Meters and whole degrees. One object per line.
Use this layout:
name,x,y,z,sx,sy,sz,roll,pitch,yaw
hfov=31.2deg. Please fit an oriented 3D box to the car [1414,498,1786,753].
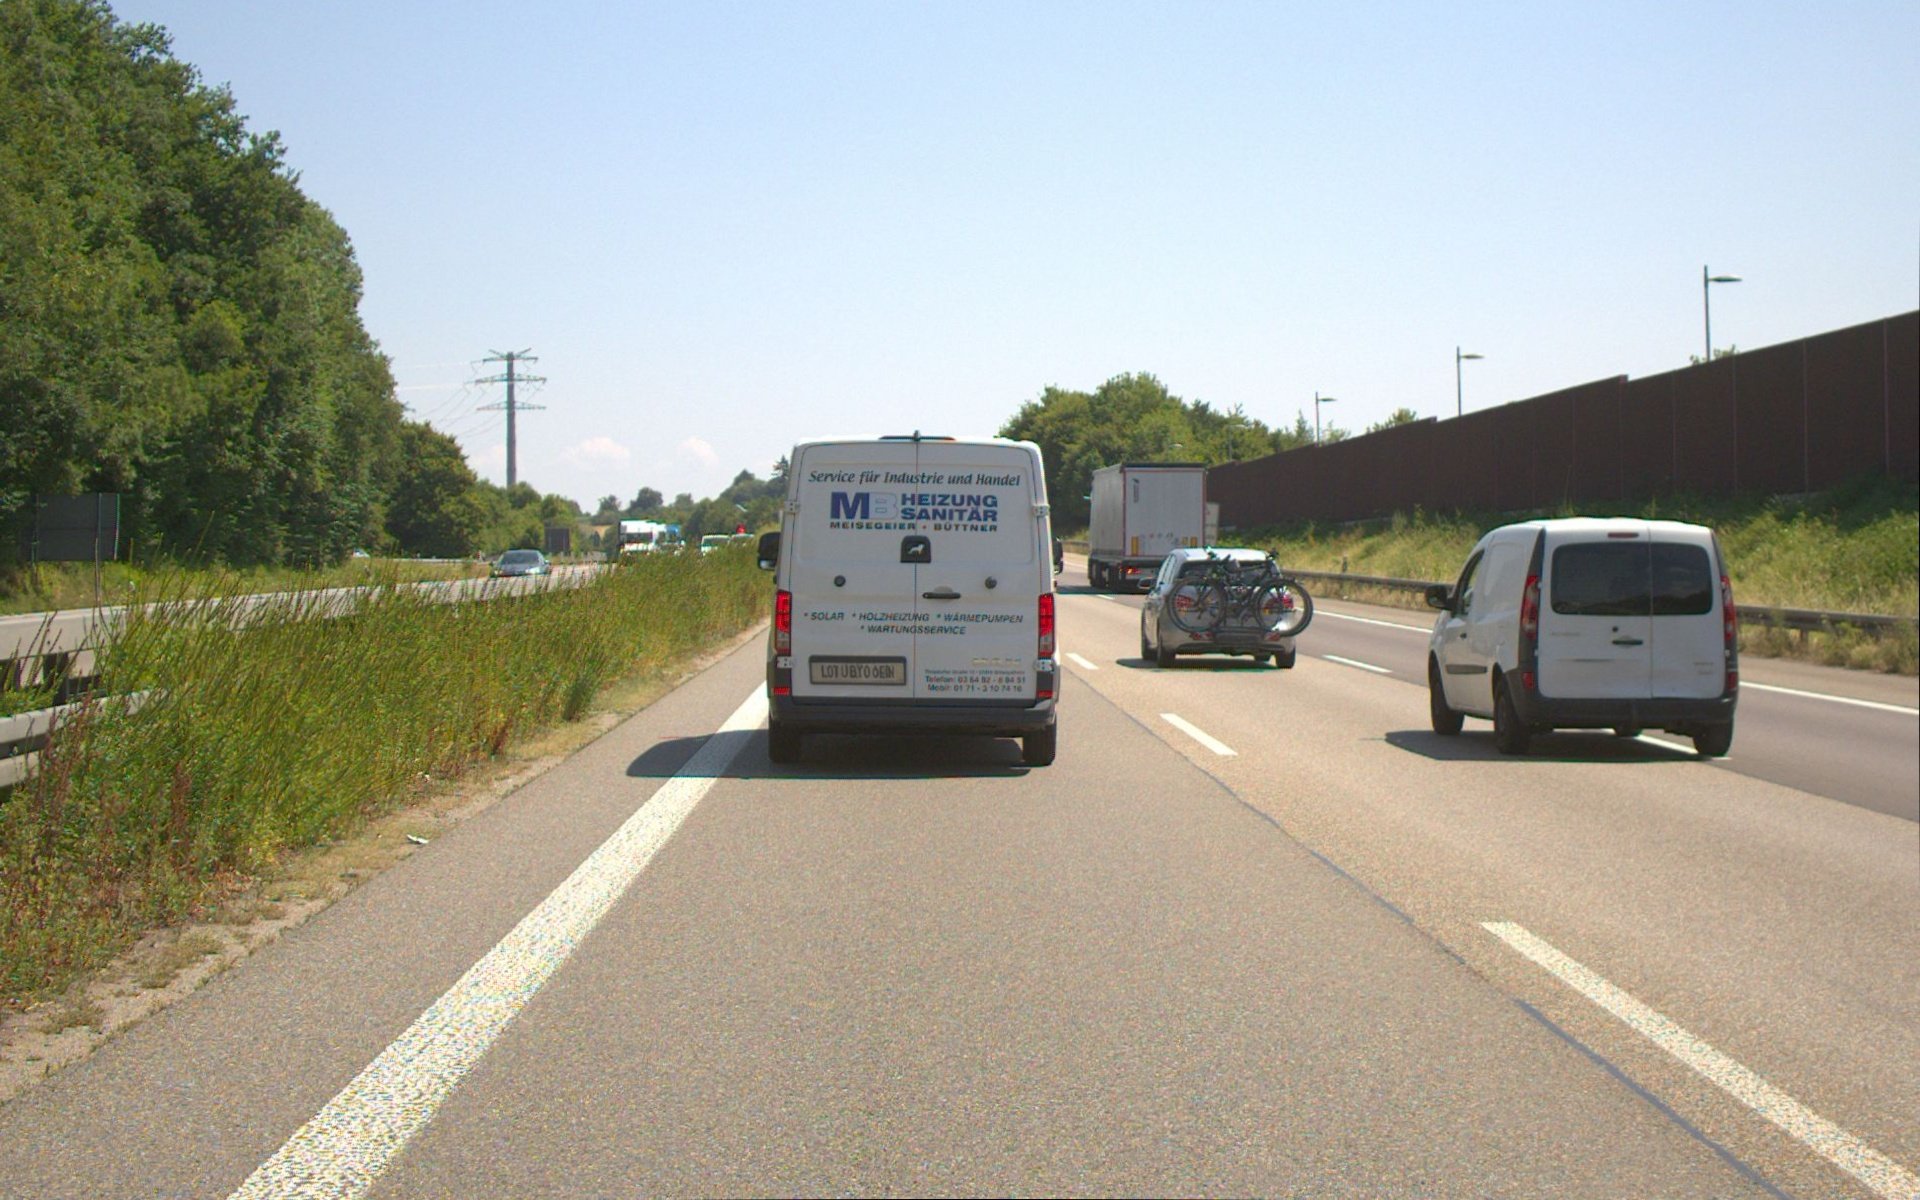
car,4.934,0.173,27.102,1.950,1.831,4.179,-1,0,-3

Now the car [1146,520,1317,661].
car,3.493,-0.135,44.860,1.976,1.727,4.088,-1,0,1

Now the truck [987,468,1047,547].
truck,3.871,-6.136,231.429,3.788,4.983,12.518,1,0,1

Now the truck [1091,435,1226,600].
truck,6.309,-2.558,111.235,3.788,4.983,12.518,1,0,1

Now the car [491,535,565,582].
car,-14.919,-1.462,119.004,1.993,1.514,4.722,-2,1,-1

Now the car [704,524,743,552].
car,-13.848,-3.628,201.086,1.993,1.582,4.426,-2,1,-1

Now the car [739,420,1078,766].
car,-0.505,-0.065,25.273,2.181,2.246,5.364,1,0,-4
